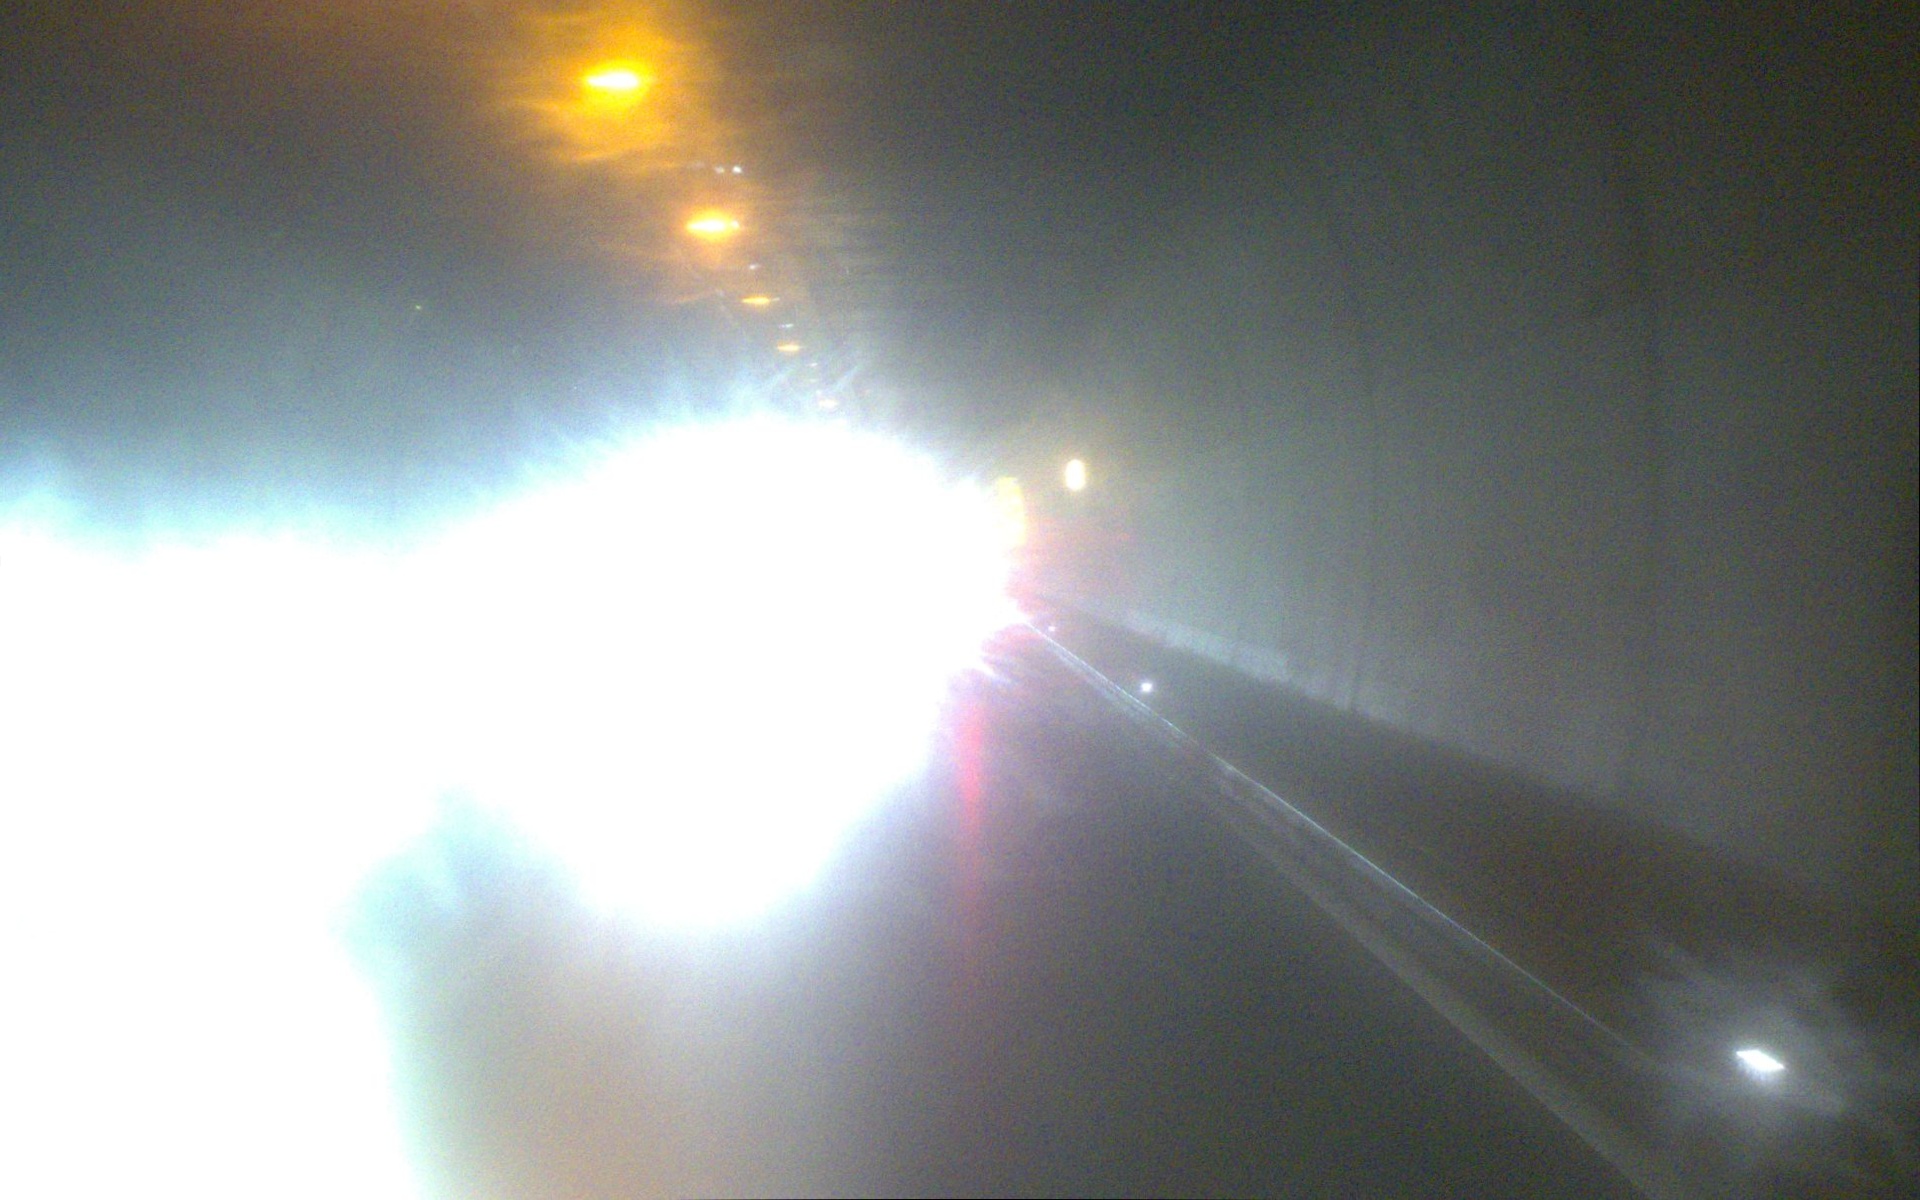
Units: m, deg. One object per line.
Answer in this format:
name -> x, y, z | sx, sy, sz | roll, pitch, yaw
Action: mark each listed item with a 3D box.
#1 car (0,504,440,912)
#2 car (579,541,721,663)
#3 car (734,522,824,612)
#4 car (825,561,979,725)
car -> -3.423, 0.409, 15.486 | 1.623, 1.607, 3.585 | 1, 1, 0
car -> -4.301, 0.008, 48.207 | 1.635, 1.622, 4.146 | 1, 1, 0
car -> -4.033, -0.742, 77.336 | 1.781, 1.922, 5.138 | 1, 1, 0
car -> -0.647, 0.449, 39.245 | 1.635, 1.752, 4.146 | 1, 1, 0
